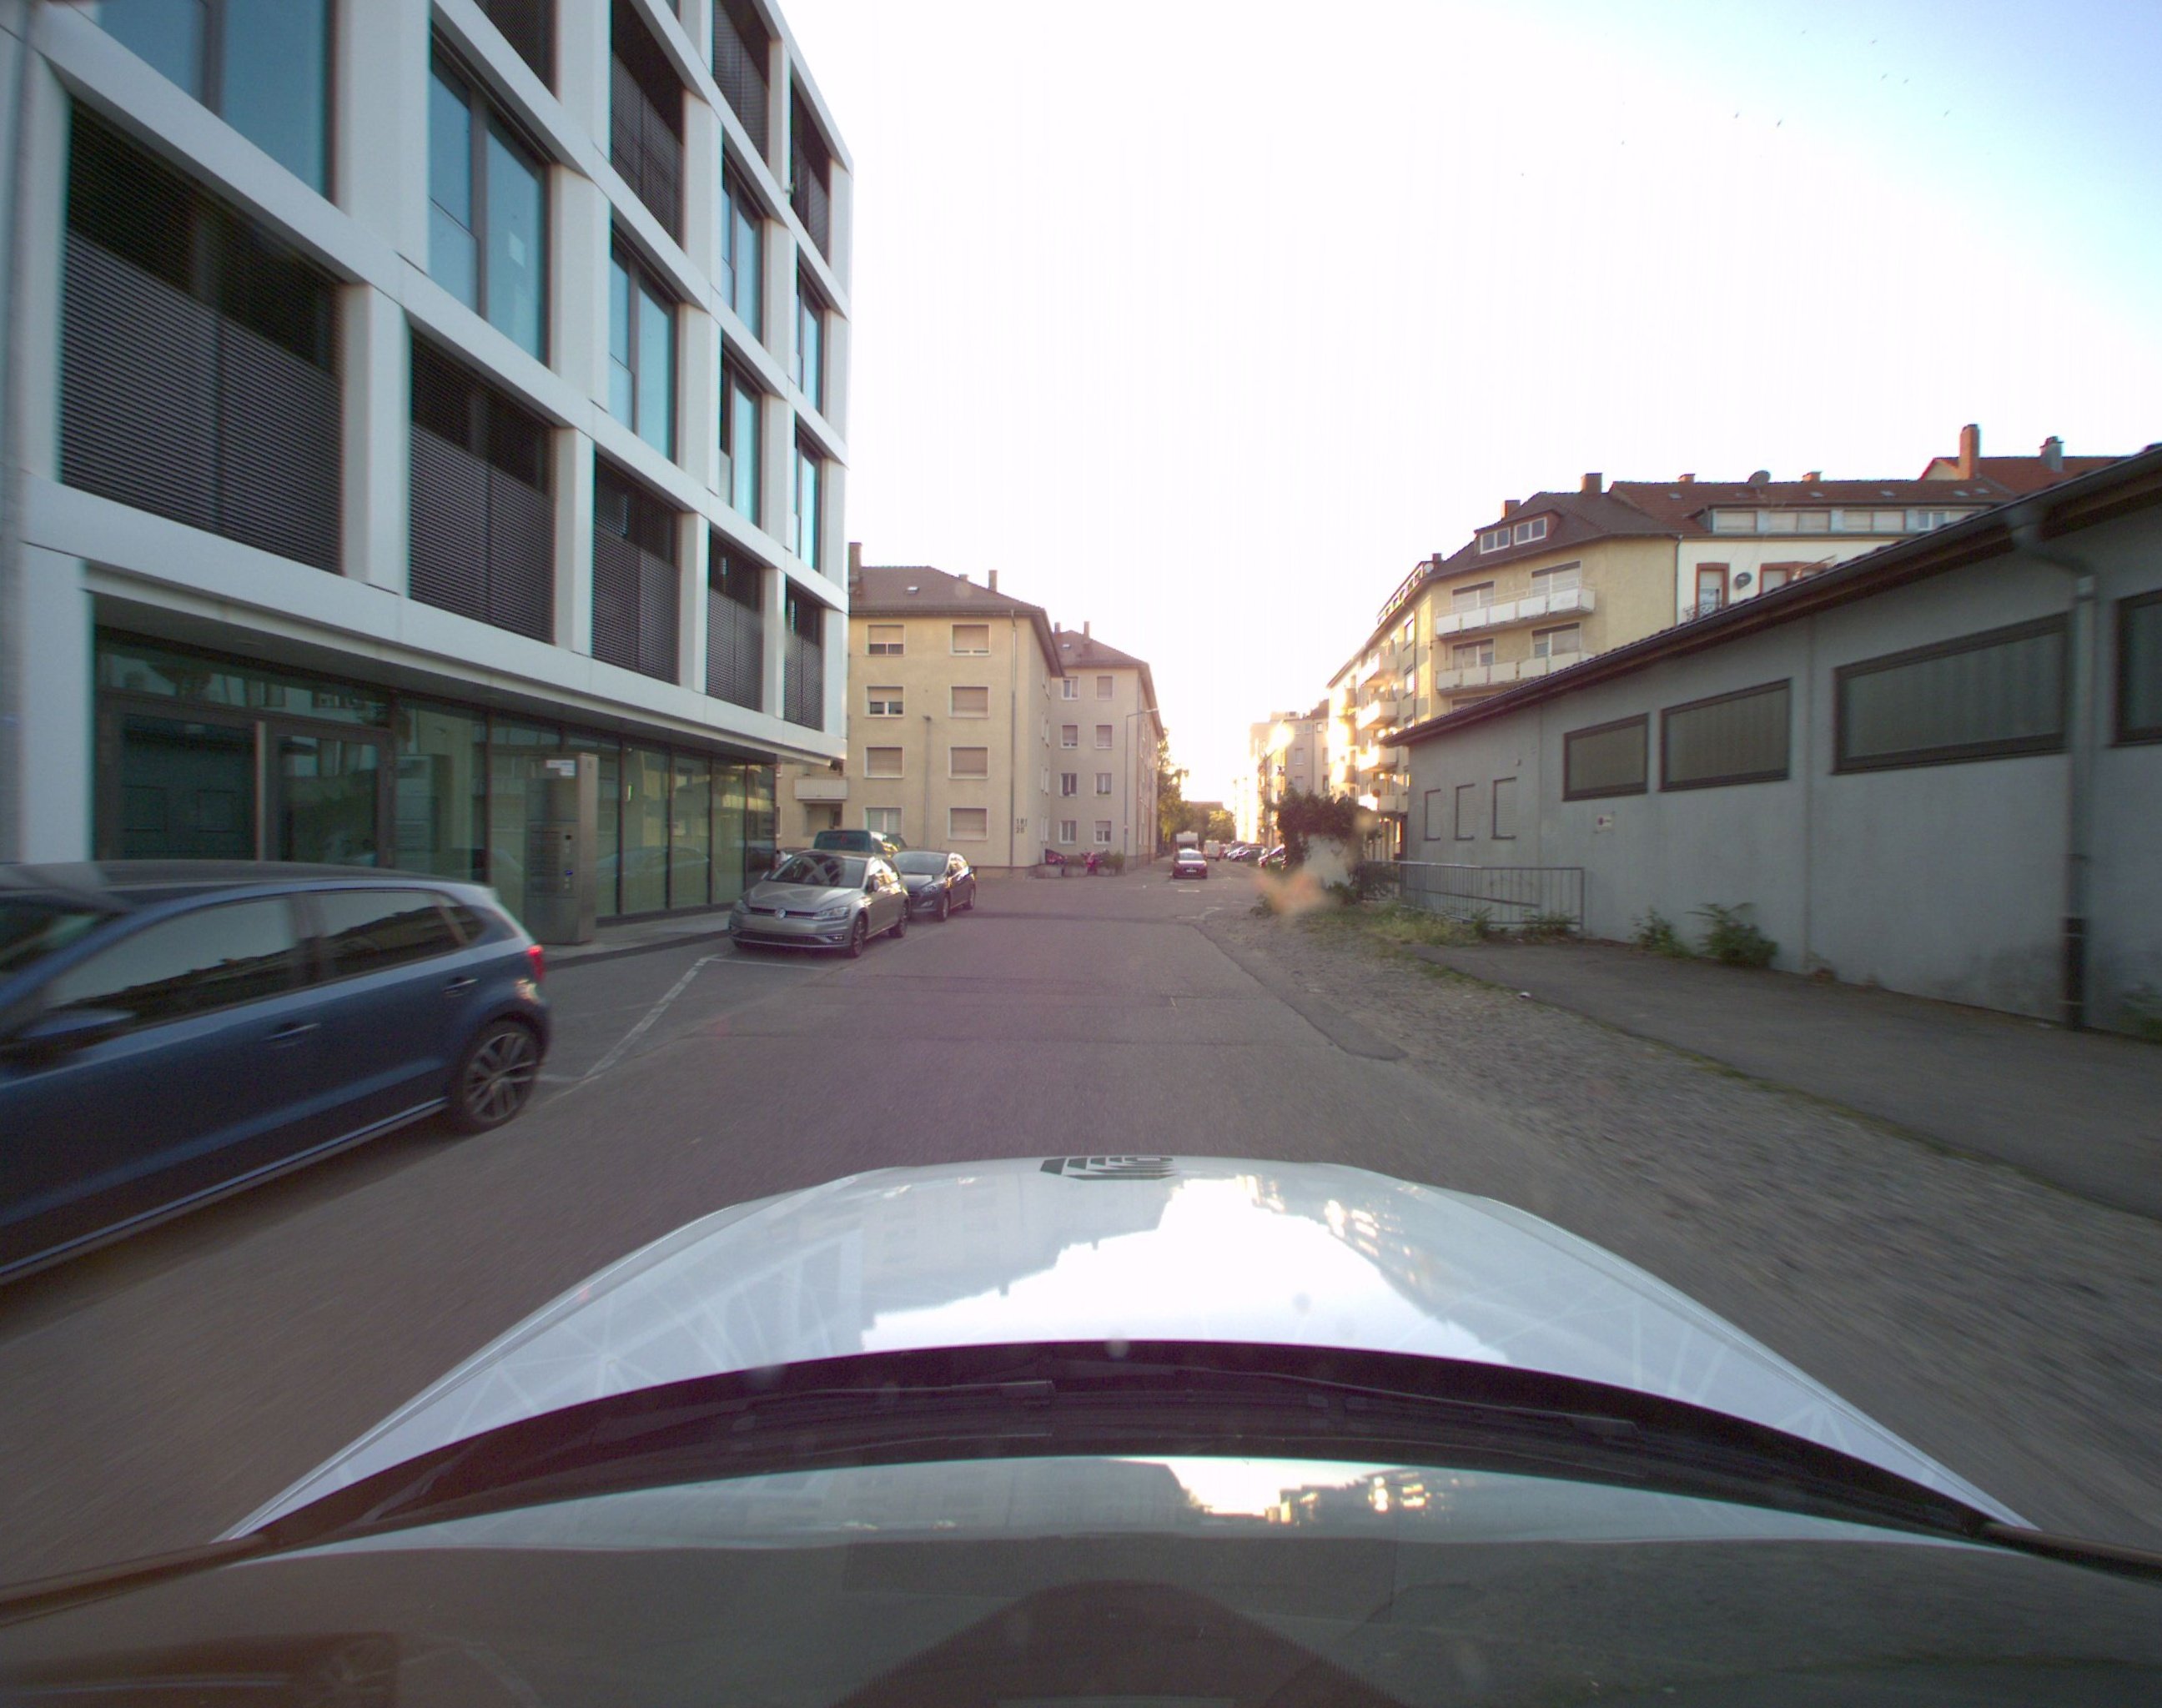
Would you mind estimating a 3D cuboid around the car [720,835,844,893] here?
[{"bbox_3d":[-8.718,0.322,24.179,1.772,1.550,4.335,1,-2,4],"label":"car"}]

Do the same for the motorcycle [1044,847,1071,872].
[{"bbox_3d":[-1.228,0.272,42.773,0.717,1.264,2.090,1,0,18],"label":"motorcycle"}]

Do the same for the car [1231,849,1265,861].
[{"bbox_3d":[20.638,0.124,100.675,3.966,1.530,1.662,-1,0,6],"label":"car"}]

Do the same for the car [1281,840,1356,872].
[{"bbox_3d":[14.544,0.115,50.072,4.256,1.860,1.745,1,0,7],"label":"car"}]

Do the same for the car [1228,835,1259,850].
[{"bbox_3d":[22.700,-1.589,113.663,3.970,2.013,2.002,0,0,3],"label":"car"}]

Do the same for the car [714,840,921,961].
[{"bbox_3d":[-3.892,0.591,12.831,1.704,1.478,4.186,4,1,1],"label":"car"}]

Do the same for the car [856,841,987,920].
[{"bbox_3d":[-3.504,0.514,18.728,1.772,1.478,4.336,4,1,4],"label":"car"}]

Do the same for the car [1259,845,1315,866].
[{"bbox_3d":[17.014,0.099,67.375,4.301,1.637,1.821,-1,-1,6],"label":"car"}]

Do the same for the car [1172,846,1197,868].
[{"bbox_3d":[7.222,0.209,56.889,1.607,1.473,3.510,-1,0,6],"label":"car"}]

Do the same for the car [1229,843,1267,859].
[{"bbox_3d":[22.051,-0.382,107.681,4.788,1.968,1.742,-1,0,6],"label":"car"}]

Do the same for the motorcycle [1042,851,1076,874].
[{"bbox_3d":[-1.066,0.401,40.465,0.716,1.079,2.093,1,0,28],"label":"motorcycle"}]

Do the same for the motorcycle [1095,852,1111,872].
[{"bbox_3d":[1.230,0.448,45.098,0.678,1.079,2.039,1,0,9],"label":"motorcycle"}]

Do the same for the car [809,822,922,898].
[{"bbox_3d":[-6.168,0.118,23.876,1.790,1.979,4.694,1,1,4],"label":"car"}]

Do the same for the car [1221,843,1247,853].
[{"bbox_3d":[24.271,-0.922,129.288,3.966,1.530,1.662,-1,0,6],"label":"car"}]

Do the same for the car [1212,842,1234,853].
[{"bbox_3d":[31.835,-1.543,183.094,4.788,2.408,1.742,-1,0,6],"label":"car"}]

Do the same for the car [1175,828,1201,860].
[{"bbox_3d":[11.782,-1.058,89.445,2.605,3.269,7.713,-1,0,8],"label":"car"}]

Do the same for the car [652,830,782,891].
[{"bbox_3d":[-10.956,0.236,24.878,1.722,1.659,4.335,1,-2,4],"label":"car"}]

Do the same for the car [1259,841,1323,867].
[{"bbox_3d":[16.593,0.020,64.557,4.697,1.909,2.063,-1,-1,6],"label":"car"}]

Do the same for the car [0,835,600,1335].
[{"bbox_3d":[-4.051,0.697,3.133,1.641,1.438,4.188,4,1,3],"label":"car"}]

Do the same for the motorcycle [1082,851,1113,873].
[{"bbox_3d":[0.861,0.413,42.798,0.682,1.160,2.047,1,0,31],"label":"motorcycle"}]

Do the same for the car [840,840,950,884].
[{"bbox_3d":[-7.559,0.303,33.381,3.991,1.617,1.883,0,4,2],"label":"car"}]

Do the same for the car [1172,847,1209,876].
[{"bbox_3d":[5.931,0.377,44.484,1.836,1.473,4.085,0,0,6],"label":"car"}]

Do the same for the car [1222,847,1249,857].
[{"bbox_3d":[24.099,-0.366,127.324,3.966,1.530,1.662,-1,0,6],"label":"car"}]

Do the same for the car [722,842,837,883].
[{"bbox_3d":[-12.380,0.337,33.624,3.996,1.499,1.880,0,4,-2],"label":"car"}]

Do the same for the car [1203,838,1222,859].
[{"bbox_3d":[17.150,-0.684,106.583,2.118,2.717,4.841,-1,0,6],"label":"car"}]

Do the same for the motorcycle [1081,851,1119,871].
[{"bbox_3d":[1.097,0.401,47.328,2.106,1.105,0.563,1,0,18],"label":"motorcycle"}]

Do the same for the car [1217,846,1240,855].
[{"bbox_3d":[27.151,-0.625,149.874,3.966,1.530,1.662,-1,0,6],"label":"car"}]
